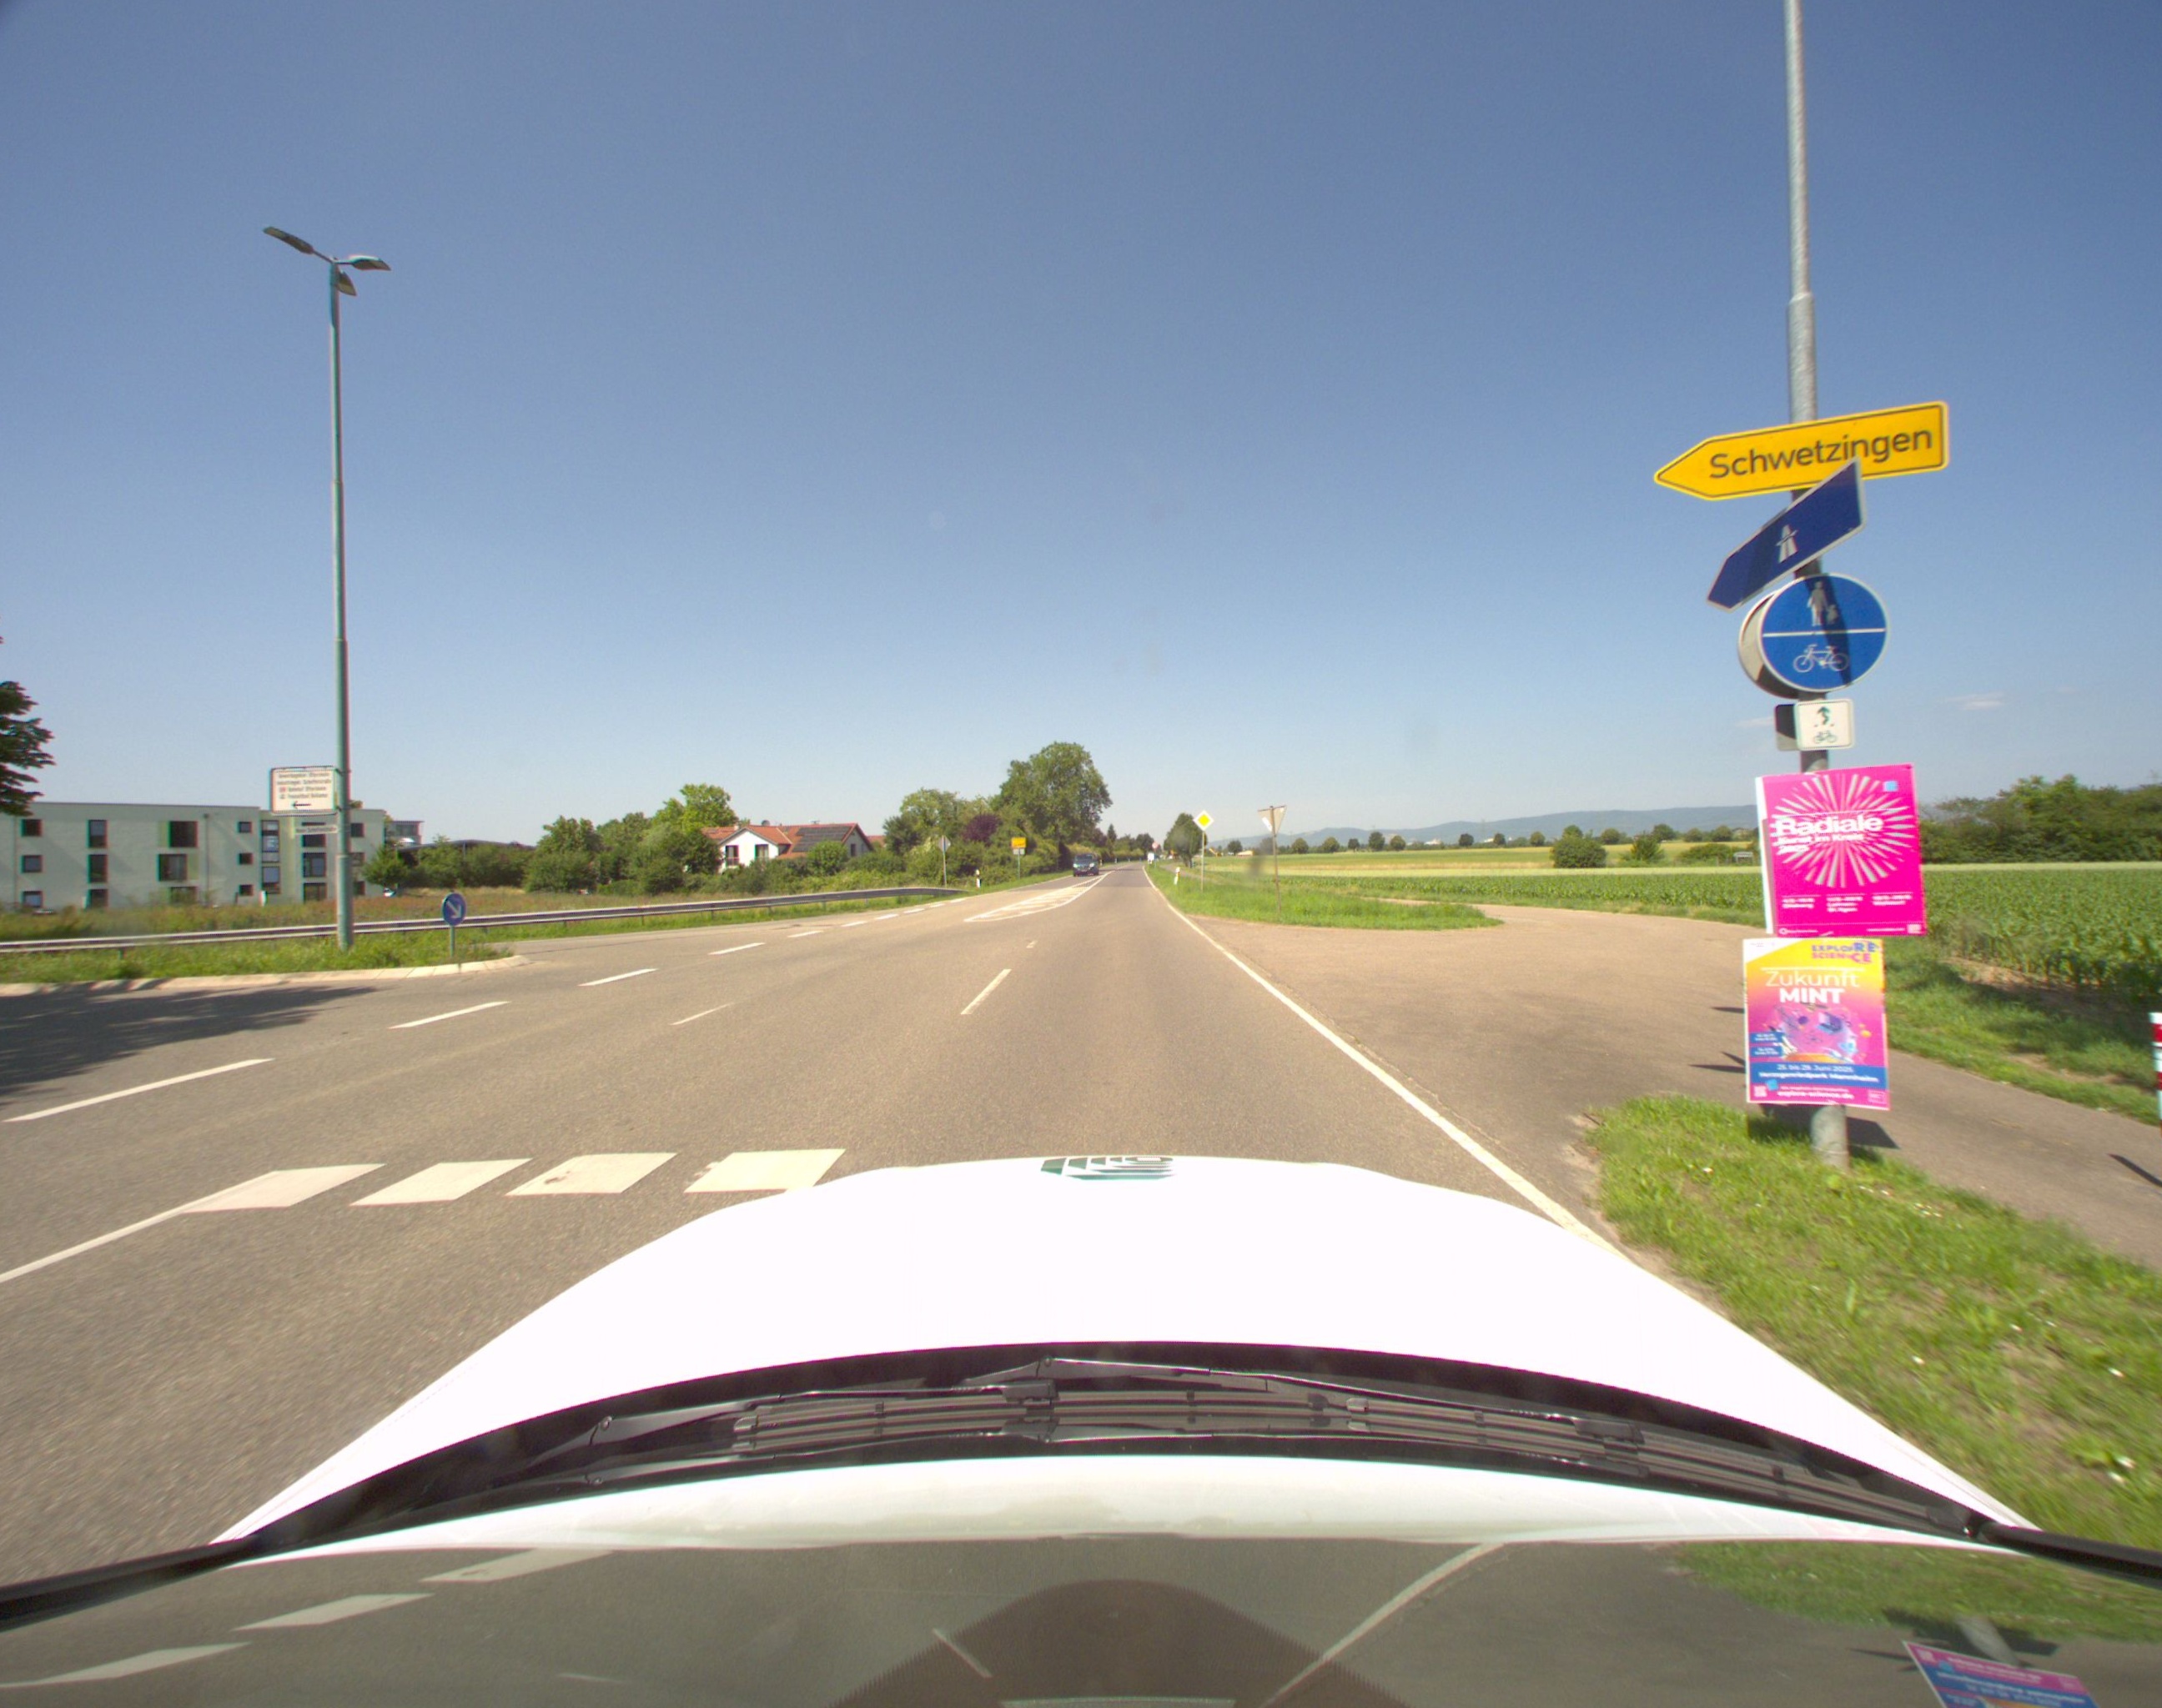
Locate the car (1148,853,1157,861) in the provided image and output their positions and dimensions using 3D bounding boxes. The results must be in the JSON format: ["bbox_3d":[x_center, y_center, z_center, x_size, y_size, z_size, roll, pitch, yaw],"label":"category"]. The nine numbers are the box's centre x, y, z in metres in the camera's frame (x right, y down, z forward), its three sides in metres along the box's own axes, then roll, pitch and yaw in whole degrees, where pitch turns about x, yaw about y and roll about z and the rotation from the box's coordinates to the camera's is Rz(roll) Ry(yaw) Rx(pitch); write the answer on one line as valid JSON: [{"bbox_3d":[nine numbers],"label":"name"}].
[{"bbox_3d":[22.380,0.914,254.747,1.977,2.651,4.020,-2,0,19],"label":"car"}]

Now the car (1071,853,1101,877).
[{"bbox_3d":[0.498,0.896,71.173,2.134,1.951,5.254,-2,0,5],"label":"car"}]
